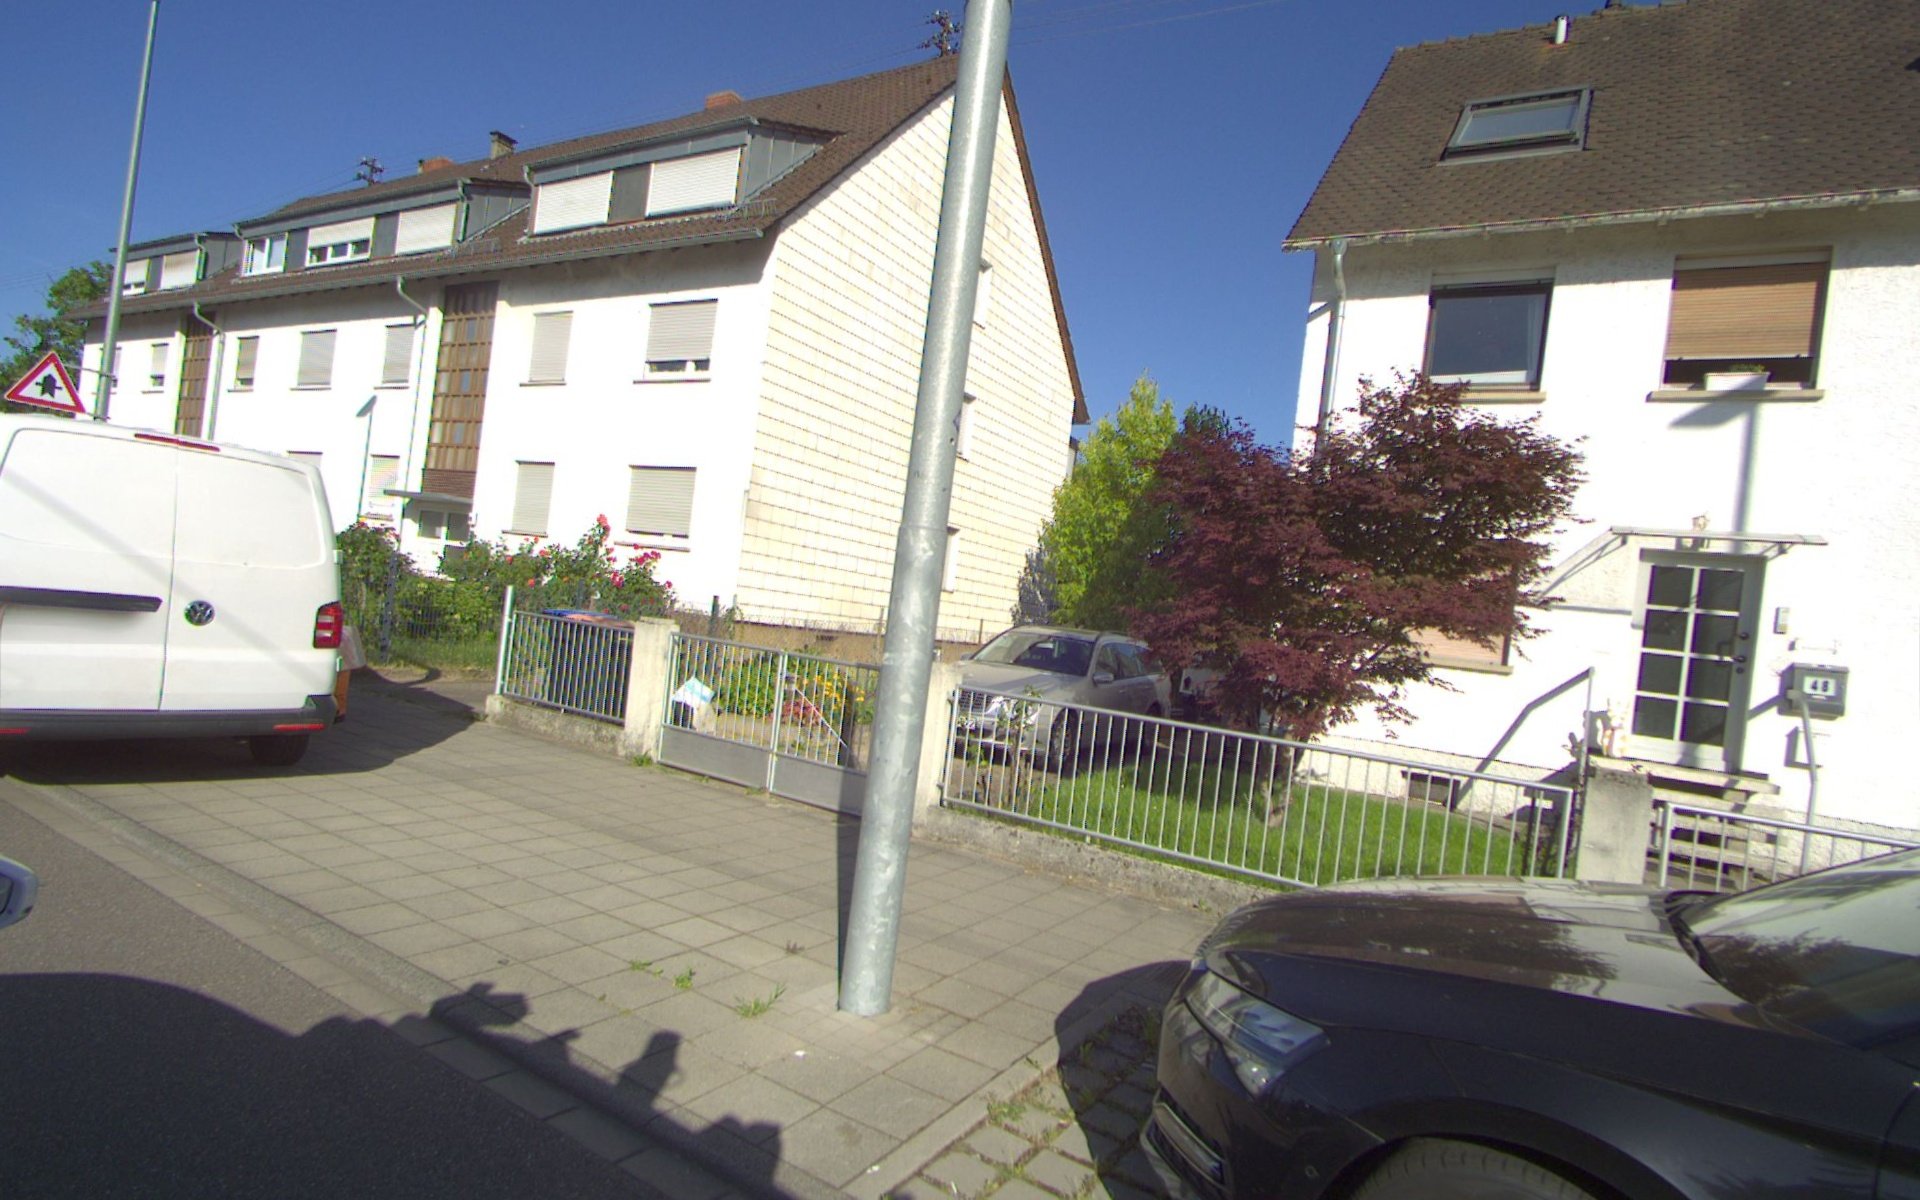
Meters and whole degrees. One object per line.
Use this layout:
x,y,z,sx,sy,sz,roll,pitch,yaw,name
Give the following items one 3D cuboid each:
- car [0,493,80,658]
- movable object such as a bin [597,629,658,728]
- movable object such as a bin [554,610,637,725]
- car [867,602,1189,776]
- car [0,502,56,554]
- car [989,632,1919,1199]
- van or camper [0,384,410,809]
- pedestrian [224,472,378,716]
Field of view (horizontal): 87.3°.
-10.766,-0.436,10.212,4.093,1.511,1.658,6,0,34,car
-2.805,0.665,8.485,0.312,0.788,0.253,7,-2,34,movable object such as a bin
-3.177,0.584,8.757,0.587,0.920,0.287,6,-2,35,movable object such as a bin
1.068,1.030,12.054,1.875,1.495,4.720,6,-1,30,car
-32.638,-2.557,33.326,1.620,1.548,3.599,6,-2,33,car
2.706,1.110,1.660,5.070,1.513,1.750,6,1,32,car
-6.014,-0.172,6.903,5.218,1.980,2.026,7,0,40,van or camper
-5.589,-0.046,8.531,0.748,1.934,0.698,6,-2,40,pedestrian
